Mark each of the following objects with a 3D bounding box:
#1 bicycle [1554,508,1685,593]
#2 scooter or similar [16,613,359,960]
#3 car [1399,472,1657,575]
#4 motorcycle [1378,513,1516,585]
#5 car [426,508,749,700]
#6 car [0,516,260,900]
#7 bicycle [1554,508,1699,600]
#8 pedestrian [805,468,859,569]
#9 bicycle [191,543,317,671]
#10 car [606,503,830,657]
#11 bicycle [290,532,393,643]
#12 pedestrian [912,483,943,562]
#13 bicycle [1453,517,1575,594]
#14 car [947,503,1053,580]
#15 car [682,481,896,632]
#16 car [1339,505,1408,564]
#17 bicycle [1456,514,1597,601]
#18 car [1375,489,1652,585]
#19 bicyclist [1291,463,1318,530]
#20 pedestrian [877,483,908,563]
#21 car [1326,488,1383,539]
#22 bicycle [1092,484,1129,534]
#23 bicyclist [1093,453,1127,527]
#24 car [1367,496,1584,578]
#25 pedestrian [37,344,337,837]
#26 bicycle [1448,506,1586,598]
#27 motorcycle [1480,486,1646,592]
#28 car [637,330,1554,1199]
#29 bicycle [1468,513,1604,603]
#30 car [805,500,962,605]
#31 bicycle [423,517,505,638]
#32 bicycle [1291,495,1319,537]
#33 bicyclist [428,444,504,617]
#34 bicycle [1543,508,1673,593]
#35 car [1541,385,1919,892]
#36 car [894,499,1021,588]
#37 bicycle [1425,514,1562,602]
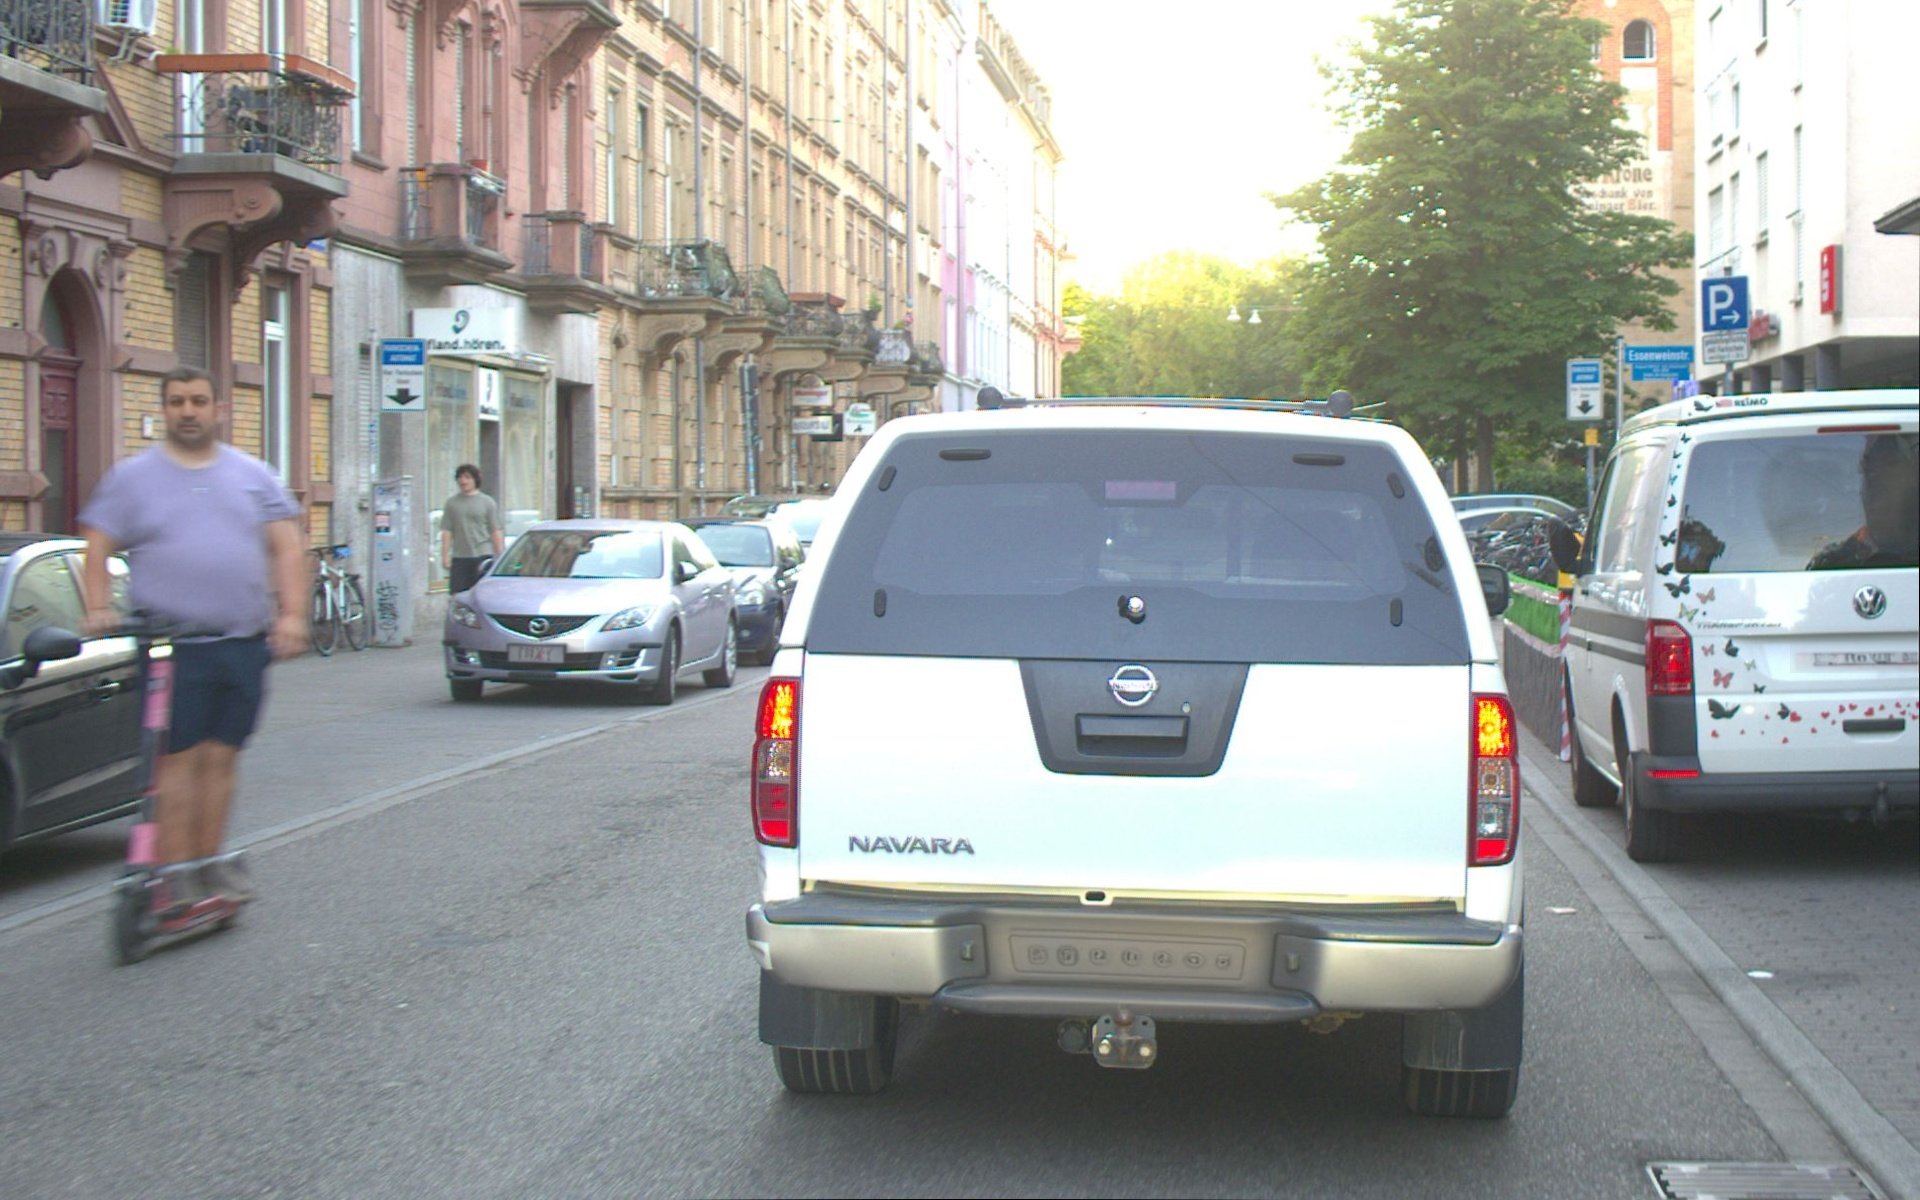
[{"bbox_3d":[9.122,-0.684,47.581,1.723,1.114,0.653,-2,1,9],"label":"bicycle"},{"bbox_3d":[-2.658,0.621,11.953,0.807,1.100,1.172,-1,2,6],"label":"scooter or similar"},{"bbox_3d":[10.144,-1.371,61.683,4.399,1.642,1.746,-2,1,6],"label":"car"},{"bbox_3d":[7.795,-0.815,55.038,2.057,1.074,0.664,-2,1,-9],"label":"motorcycle"},{"bbox_3d":[-2.954,-0.028,28.198,1.723,1.416,4.581,1,1,5],"label":"car"},{"bbox_3d":[-4.343,0.387,14.058,1.694,1.415,3.853,1,2,8],"label":"car"},{"bbox_3d":[8.671,-0.604,44.759,1.722,1.128,0.579,-2,1,-6],"label":"bicycle"},{"bbox_3d":[-2.229,-1.412,59.889,0.554,1.749,1.021,1,0,22],"label":"pedestrian"},{"bbox_3d":[-6.217,0.045,30.364,0.549,1.033,1.759,3,2,6],"label":"bicycle"},{"bbox_3d":[-2.372,-0.239,34.499,1.585,1.415,3.696,1,2,6],"label":"car"},{"bbox_3d":[-6.053,-0.137,33.705,0.449,1.019,1.848,3,2,6],"label":"bicycle"},{"bbox_3d":[-0.740,-1.767,78.361,0.605,1.766,0.777,3,2,2],"label":"pedestrian"},{"bbox_3d":[8.253,-0.662,51.289,1.720,1.028,0.667,-4,0,9],"label":"bicycle"},{"bbox_3d":[0.817,-1.175,67.567,1.784,1.418,4.485,2,2,4],"label":"car"},{"bbox_3d":[-1.932,-0.558,40.144,1.853,1.628,4.445,1,2,6],"label":"car"},{"bbox_3d":[11.000,-1.762,91.670,1.676,1.424,4.477,-4,1,6],"label":"car"},{"bbox_3d":[7.730,-0.577,46.946,1.809,1.114,0.707,-2,1,4],"label":"bicycle"},{"bbox_3d":[9.463,-1.086,58.982,4.423,1.450,1.780,-2,1,0],"label":"car"},{"bbox_3d":[9.150,-2.763,91.405,0.645,1.754,0.648,-2,1,4],"label":"bicyclist"},{"bbox_3d":[-1.530,-1.764,78.357,0.580,1.765,0.998,3,2,2],"label":"pedestrian"},{"bbox_3d":[12.445,-2.723,108.227,1.676,1.496,3.900,-3,1,7],"label":"car"},{"bbox_3d":[3.347,-2.017,76.510,0.645,1.077,2.169,-2,2,-1],"label":"bicycle"},{"bbox_3d":[3.338,-2.456,76.511,0.645,1.615,0.918,-2,1,-1],"label":"bicyclist"},{"bbox_3d":[10.005,-1.237,66.900,3.987,1.451,1.828,-2,2,4],"label":"car"},{"bbox_3d":[-2.669,-0.038,11.929,0.807,1.654,0.672,-1,2,6],"label":"pedestrian"},{"bbox_3d":[7.956,-0.689,49.095,1.790,1.178,0.733,-4,0,17],"label":"bicycle"},{"bbox_3d":[9.447,-0.956,53.950,2.492,1.544,0.823,-2,0,9],"label":"motorcycle"},{"bbox_3d":[0.643,0.300,9.906,1.911,1.846,5.269,2,2,8],"label":"car"},{"bbox_3d":[7.582,-0.555,45.303,1.723,1.114,0.707,-2,1,9],"label":"bicycle"},{"bbox_3d":[-1.067,-0.733,50.268,1.758,1.407,4.508,1,2,6],"label":"car"},{"bbox_3d":[-5.030,-0.231,34.953,0.708,1.192,1.742,0,1,-5],"label":"bicycle"},{"bbox_3d":[9.167,-2.244,91.277,0.645,1.077,1.832,-2,2,4],"label":"bicycle"},{"bbox_3d":[-5.023,-0.702,34.977,0.708,1.723,0.843,0,0,-5],"label":"bicyclist"},{"bbox_3d":[9.071,-0.698,48.159,1.723,1.114,0.653,-2,1,9],"label":"bicycle"},{"bbox_3d":[3.889,0.058,16.022,1.959,1.967,5.002,-2,2,6],"label":"car"},{"bbox_3d":[-0.004,-1.008,59.907,1.717,1.452,3.999,2,2,7],"label":"car"},{"bbox_3d":[7.164,-0.566,46.212,1.722,1.114,0.707,-2,1,4],"label":"bicycle"}]
